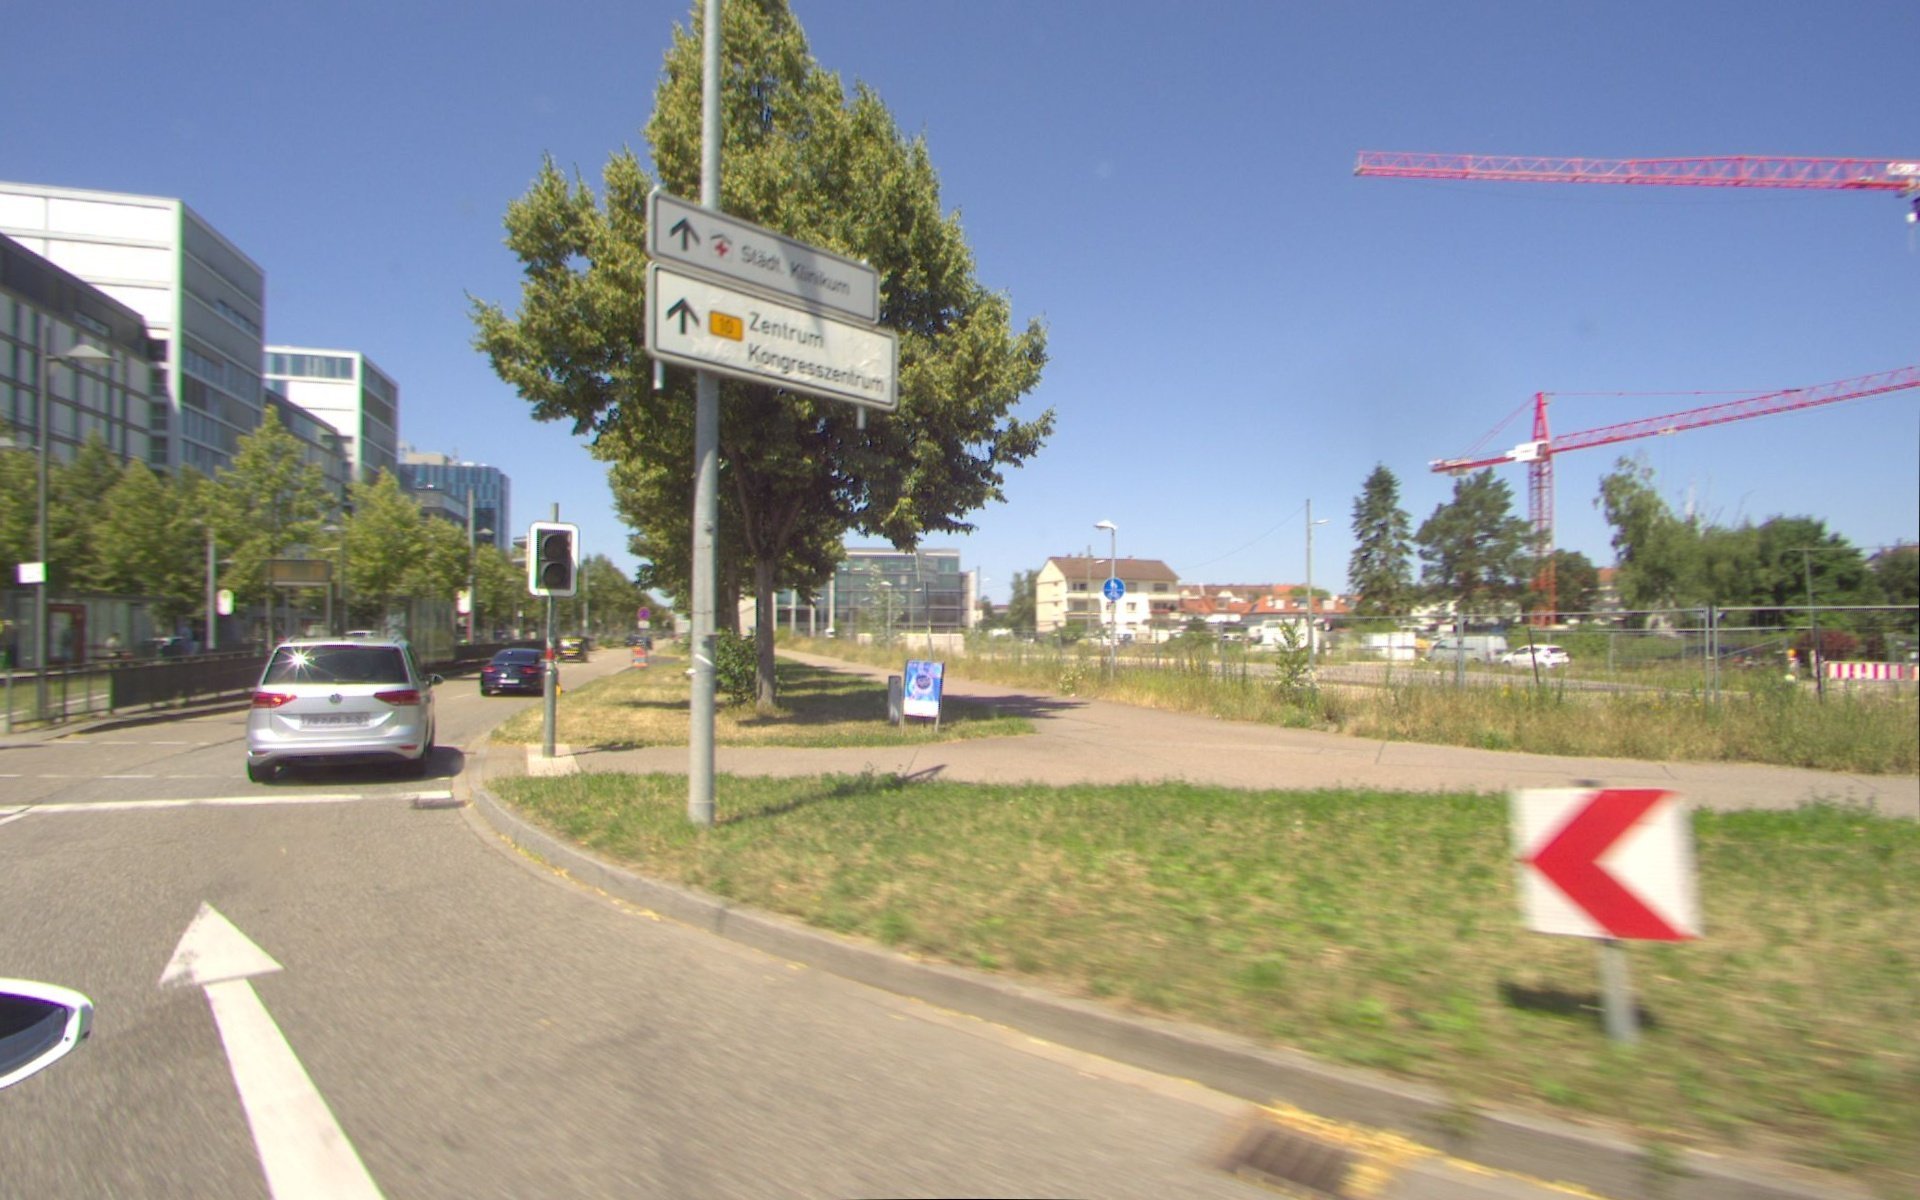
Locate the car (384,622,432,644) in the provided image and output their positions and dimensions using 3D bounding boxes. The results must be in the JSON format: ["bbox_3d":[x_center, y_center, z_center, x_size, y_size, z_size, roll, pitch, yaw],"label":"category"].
[{"bbox_3d":[-48.256,2.876,87.618,2.425,1.829,5.066,1,-2,-14],"label":"car"}]

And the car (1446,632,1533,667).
[{"bbox_3d":[32.295,2.974,61.194,1.755,2.039,4.669,1,-2,-22],"label":"car"}]

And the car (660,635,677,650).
[{"bbox_3d":[-32.328,4.706,111.228,1.740,1.647,3.711,1,-2,-15],"label":"car"}]

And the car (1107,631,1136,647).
[{"bbox_3d":[17.597,4.284,109.204,1.650,1.606,3.618,0,-2,-17],"label":"car"}]

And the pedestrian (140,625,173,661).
[{"bbox_3d":[-32.850,1.760,40.942,0.822,1.431,0.641,1,-1,-15],"label":"pedestrian"}]

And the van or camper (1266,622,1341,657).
[{"bbox_3d":[26.953,3.109,78.922,1.896,2.635,6.992,1,-2,-16],"label":"van or camper"}]

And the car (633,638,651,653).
[{"bbox_3d":[-35.153,5.028,110.868,1.740,1.647,3.711,1,-2,-15],"label":"car"}]

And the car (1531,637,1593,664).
[{"bbox_3d":[33.753,2.817,56.184,1.393,1.424,2.787,-1,-1,-15],"label":"car"}]

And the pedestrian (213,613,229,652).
[{"bbox_3d":[-33.667,1.476,45.619,0.403,1.774,0.585,1,-1,-17],"label":"pedestrian"}]

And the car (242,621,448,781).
[{"bbox_3d":[-7.665,1.169,12.897,1.779,1.669,4.587,2,-3,-26],"label":"car"}]

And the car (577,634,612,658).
[{"bbox_3d":[-23.385,2.941,64.146,1.594,1.469,3.984,0,-3,-13],"label":"car"}]

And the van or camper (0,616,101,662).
[{"bbox_3d":[-51.175,2.160,55.803,2.145,2.416,6.765,1,-2,-14],"label":"van or camper"}]

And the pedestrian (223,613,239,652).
[{"bbox_3d":[-33.755,1.515,46.391,0.403,1.774,0.585,1,-1,-17],"label":"pedestrian"}]

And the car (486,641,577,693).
[{"bbox_3d":[-13.204,2.017,31.128,1.824,1.454,4.951,1,-2,-14],"label":"car"}]

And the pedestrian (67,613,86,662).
[{"bbox_3d":[-31.672,1.337,35.893,0.462,1.761,0.474,1,-1,-43],"label":"pedestrian"}]
